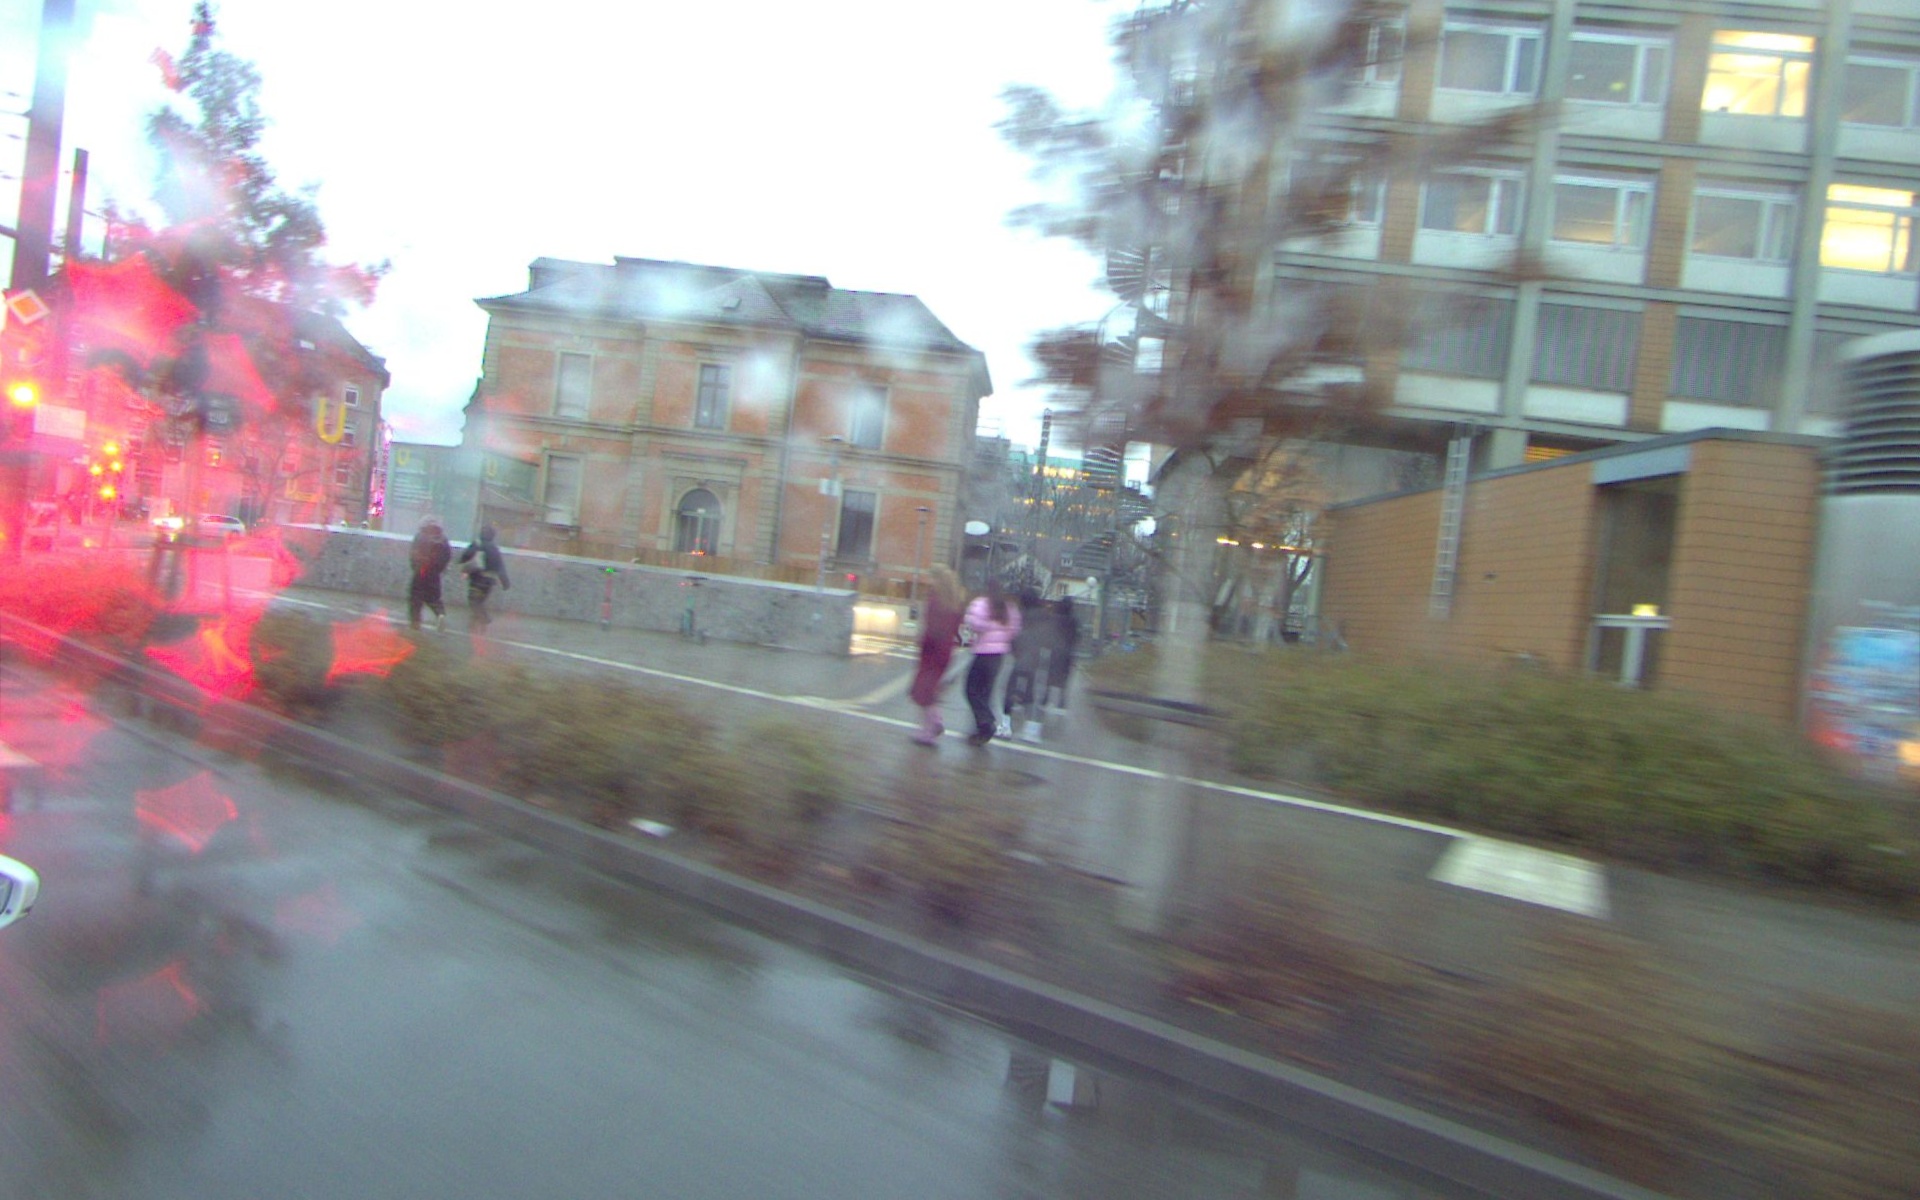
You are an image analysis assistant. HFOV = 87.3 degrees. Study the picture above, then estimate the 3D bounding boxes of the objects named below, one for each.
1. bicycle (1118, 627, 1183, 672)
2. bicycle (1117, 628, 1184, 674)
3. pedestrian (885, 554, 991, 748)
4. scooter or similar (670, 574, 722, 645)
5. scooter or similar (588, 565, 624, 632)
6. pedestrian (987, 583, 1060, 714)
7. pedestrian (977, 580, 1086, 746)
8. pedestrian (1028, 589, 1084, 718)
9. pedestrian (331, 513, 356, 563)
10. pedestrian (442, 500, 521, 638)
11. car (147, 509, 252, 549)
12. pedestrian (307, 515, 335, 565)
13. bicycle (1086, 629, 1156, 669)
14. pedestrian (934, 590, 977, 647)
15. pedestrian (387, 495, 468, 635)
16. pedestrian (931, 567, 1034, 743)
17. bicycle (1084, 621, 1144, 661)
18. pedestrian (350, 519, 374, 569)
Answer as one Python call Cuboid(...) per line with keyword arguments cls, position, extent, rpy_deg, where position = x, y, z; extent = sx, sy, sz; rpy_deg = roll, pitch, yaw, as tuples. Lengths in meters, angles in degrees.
Cuboid(cls="bicycle", position=(5.589, 1.440, 29.547), extent=(1.761, 1.116, 0.442), rpy_deg=(6, 1, 8))
Cuboid(cls="bicycle", position=(5.460, 1.458, 28.912), extent=(1.761, 1.116, 0.401), rpy_deg=(6, 1, 8))
Cuboid(cls="pedestrian", position=(-0.227, 0.484, 9.804), extent=(0.579, 1.804, 0.762), rpy_deg=(4, 2, -32))
Cuboid(cls="scooter or similar", position=(-5.054, 0.167, 19.203), extent=(0.508, 1.229, 1.372), rpy_deg=(6, 0, -30))
Cuboid(cls="scooter or similar", position=(-6.992, -0.048, 19.815), extent=(0.507, 1.229, 1.376), rpy_deg=(6, 0, -22))
Cuboid(cls="pedestrian", position=(0.945, 0.707, 14.863), extent=(0.735, 1.813, 0.854), rpy_deg=(6, 1, 15))
Cuboid(cls="pedestrian", position=(0.780, 0.689, 11.092), extent=(0.713, 1.709, 0.753), rpy_deg=(6, 1, -33))
Cuboid(cls="pedestrian", position=(1.418, 0.782, 14.792), extent=(0.549, 1.813, 0.584), rpy_deg=(6, 1, 15))
Cuboid(cls="pedestrian", position=(-25.581, -2.556, 41.739), extent=(0.670, 1.974, 0.657), rpy_deg=(6, 1, -29))
Cuboid(cls="pedestrian", position=(-7.582, -0.499, 15.927), extent=(0.802, 2.038, 0.753), rpy_deg=(8, 2, -33))
Cuboid(cls="car", position=(-44.220, -4.111, 58.628), extent=(1.707, 1.677, 4.816), rpy_deg=(6, 0, 13))
Cuboid(cls="pedestrian", position=(-26.659, -2.485, 41.985), extent=(0.668, 1.974, 0.674), rpy_deg=(6, 1, -18))
Cuboid(cls="bicycle", position=(5.031, 1.531, 31.499), extent=(2.021, 1.004, 0.708), rpy_deg=(7, 1, 8))
Cuboid(cls="pedestrian", position=(-0.154, 0.591, 32.484), extent=(0.911, 1.726, 0.792), rpy_deg=(6, 1, -41))
Cuboid(cls="pedestrian", position=(-8.004, -0.533, 15.115), extent=(0.802, 1.954, 0.753), rpy_deg=(8, 2, -33))
Cuboid(cls="pedestrian", position=(0.223, 0.562, 10.346), extent=(0.662, 1.710, 0.606), rpy_deg=(4, 4, -33))
Cuboid(cls="bicycle", position=(4.968, 1.325, 32.523), extent=(1.764, 1.116, 0.390), rpy_deg=(6, 1, -6))
Cuboid(cls="pedestrian", position=(-24.910, -2.319, 41.932), extent=(0.670, 1.974, 0.657), rpy_deg=(6, 1, -29))
